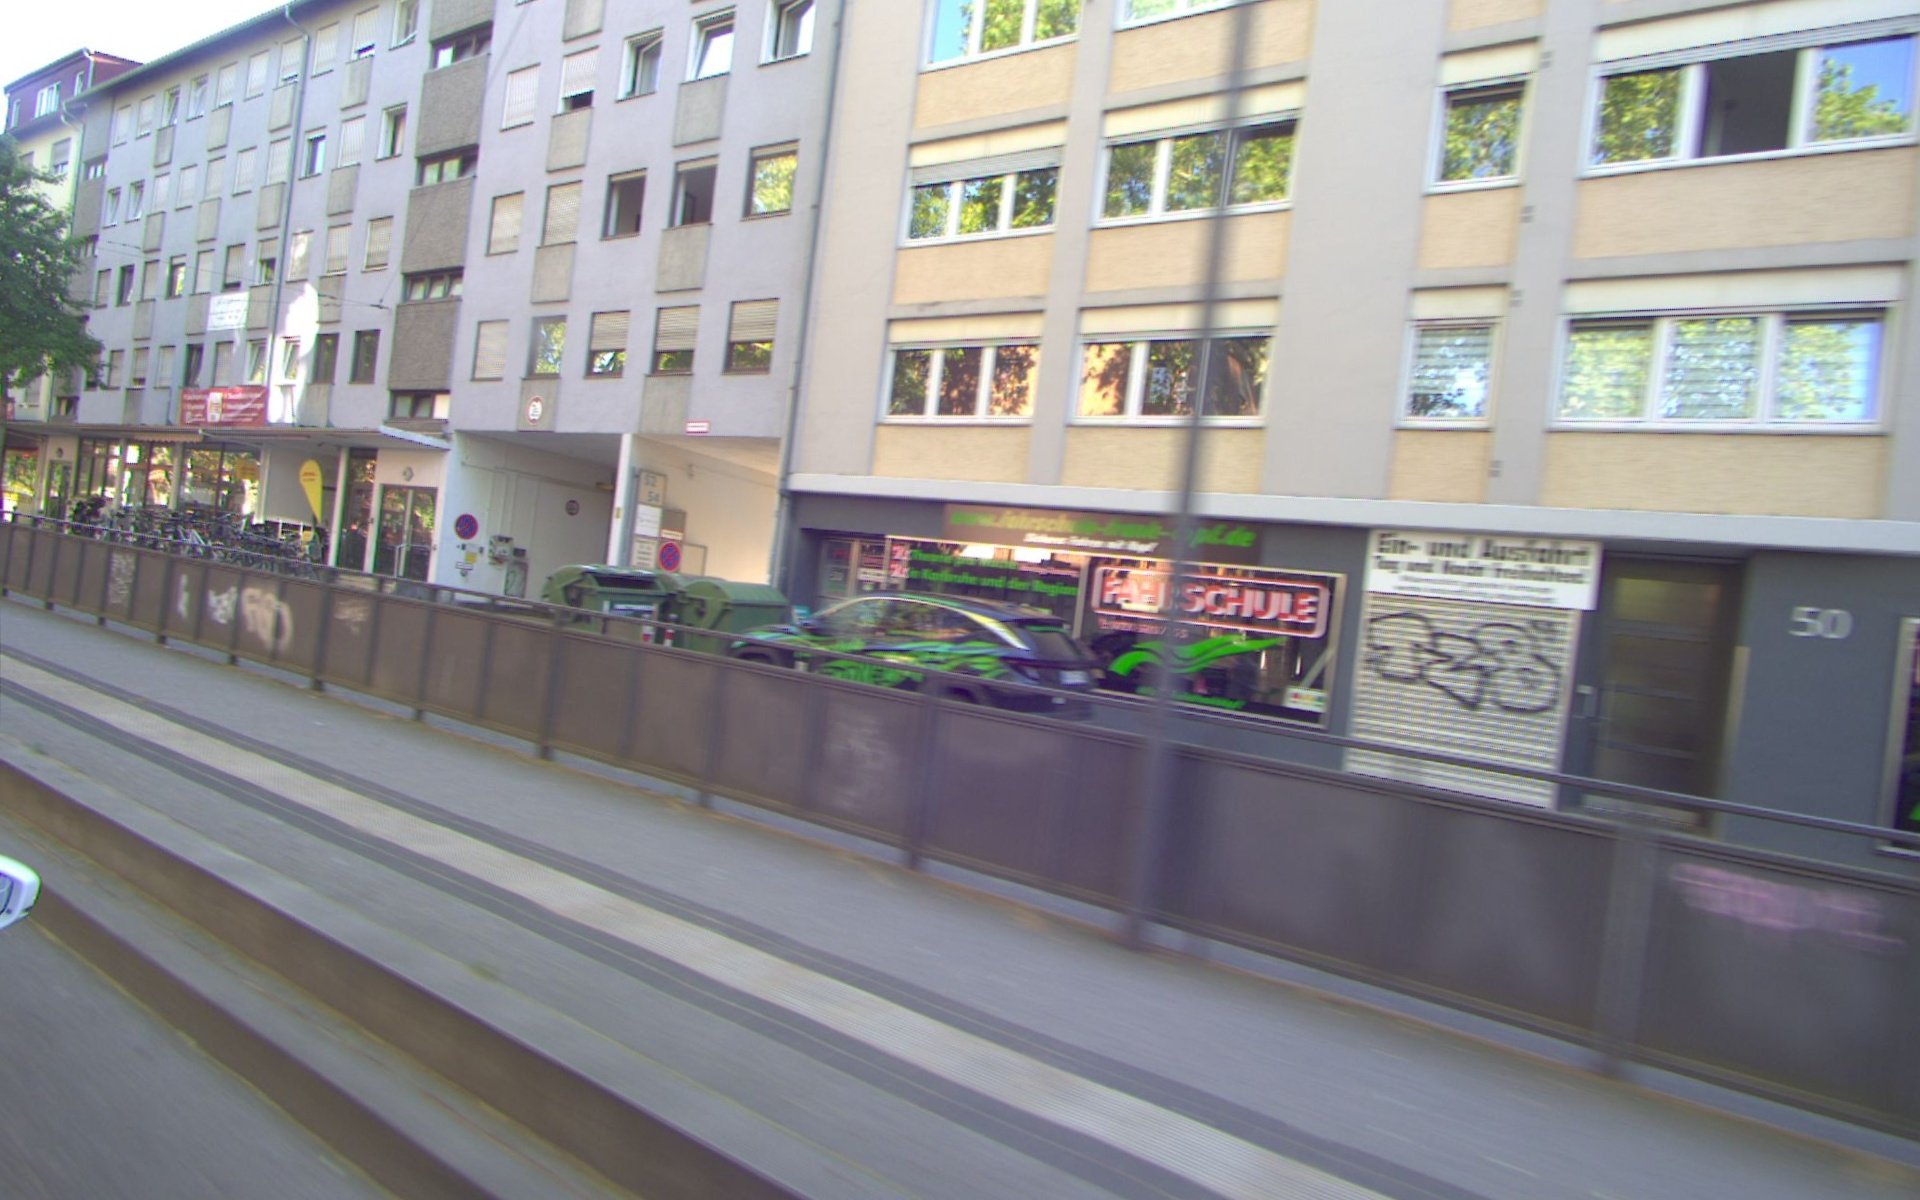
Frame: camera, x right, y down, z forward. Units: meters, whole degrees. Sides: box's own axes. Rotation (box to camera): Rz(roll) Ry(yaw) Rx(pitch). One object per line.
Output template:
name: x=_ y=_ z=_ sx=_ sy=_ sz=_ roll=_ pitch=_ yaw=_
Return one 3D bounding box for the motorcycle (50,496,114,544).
motorcycle: x=-27.943 y=-2.559 z=32.018 sx=2.009 sy=1.295 sz=0.893 roll=6 pitch=-1 yaw=32

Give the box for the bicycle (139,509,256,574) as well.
bicycle: x=-17.525 y=-1.351 z=23.102 sx=2.867 sy=1.149 sz=0.613 roll=7 pitch=-1 yaw=21

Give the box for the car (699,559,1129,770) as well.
car: x=-0.582 y=0.629 z=11.142 sx=4.325 sy=1.634 sz=1.860 roll=6 pitch=-2 yaw=32

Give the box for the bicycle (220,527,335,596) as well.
bicycle: x=-14.390 y=-0.811 z=21.199 sx=2.394 sy=1.149 sz=0.623 roll=7 pitch=-1 yaw=21

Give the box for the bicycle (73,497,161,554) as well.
bicycle: x=-20.947 y=-1.844 z=24.985 sx=2.163 sy=1.149 sz=0.599 roll=7 pitch=-1 yaw=21

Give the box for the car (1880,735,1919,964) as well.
car: x=8.046 y=1.812 z=5.415 sx=4.177 sy=1.457 sz=1.747 roll=6 pitch=-2 yaw=32

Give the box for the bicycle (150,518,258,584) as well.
bicycle: x=-16.617 y=-1.084 z=22.099 sx=2.389 sy=1.149 sz=0.604 roll=7 pitch=-1 yaw=21

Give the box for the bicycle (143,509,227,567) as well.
bicycle: x=-18.515 y=-1.481 z=24.035 sx=2.163 sy=1.149 sz=0.411 roll=7 pitch=-1 yaw=21

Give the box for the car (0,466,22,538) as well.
car: x=-28.818 y=-3.001 z=28.602 sx=3.933 sy=1.975 sz=1.997 roll=6 pitch=-1 yaw=31

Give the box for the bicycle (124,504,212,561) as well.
bicycle: x=-19.744 y=-1.682 z=25.067 sx=2.163 sy=1.149 sz=0.599 roll=7 pitch=-1 yaw=21

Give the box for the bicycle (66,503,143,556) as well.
bicycle: x=-22.027 y=-1.821 z=25.894 sx=2.165 sy=1.149 sz=0.599 roll=7 pitch=-1 yaw=26
